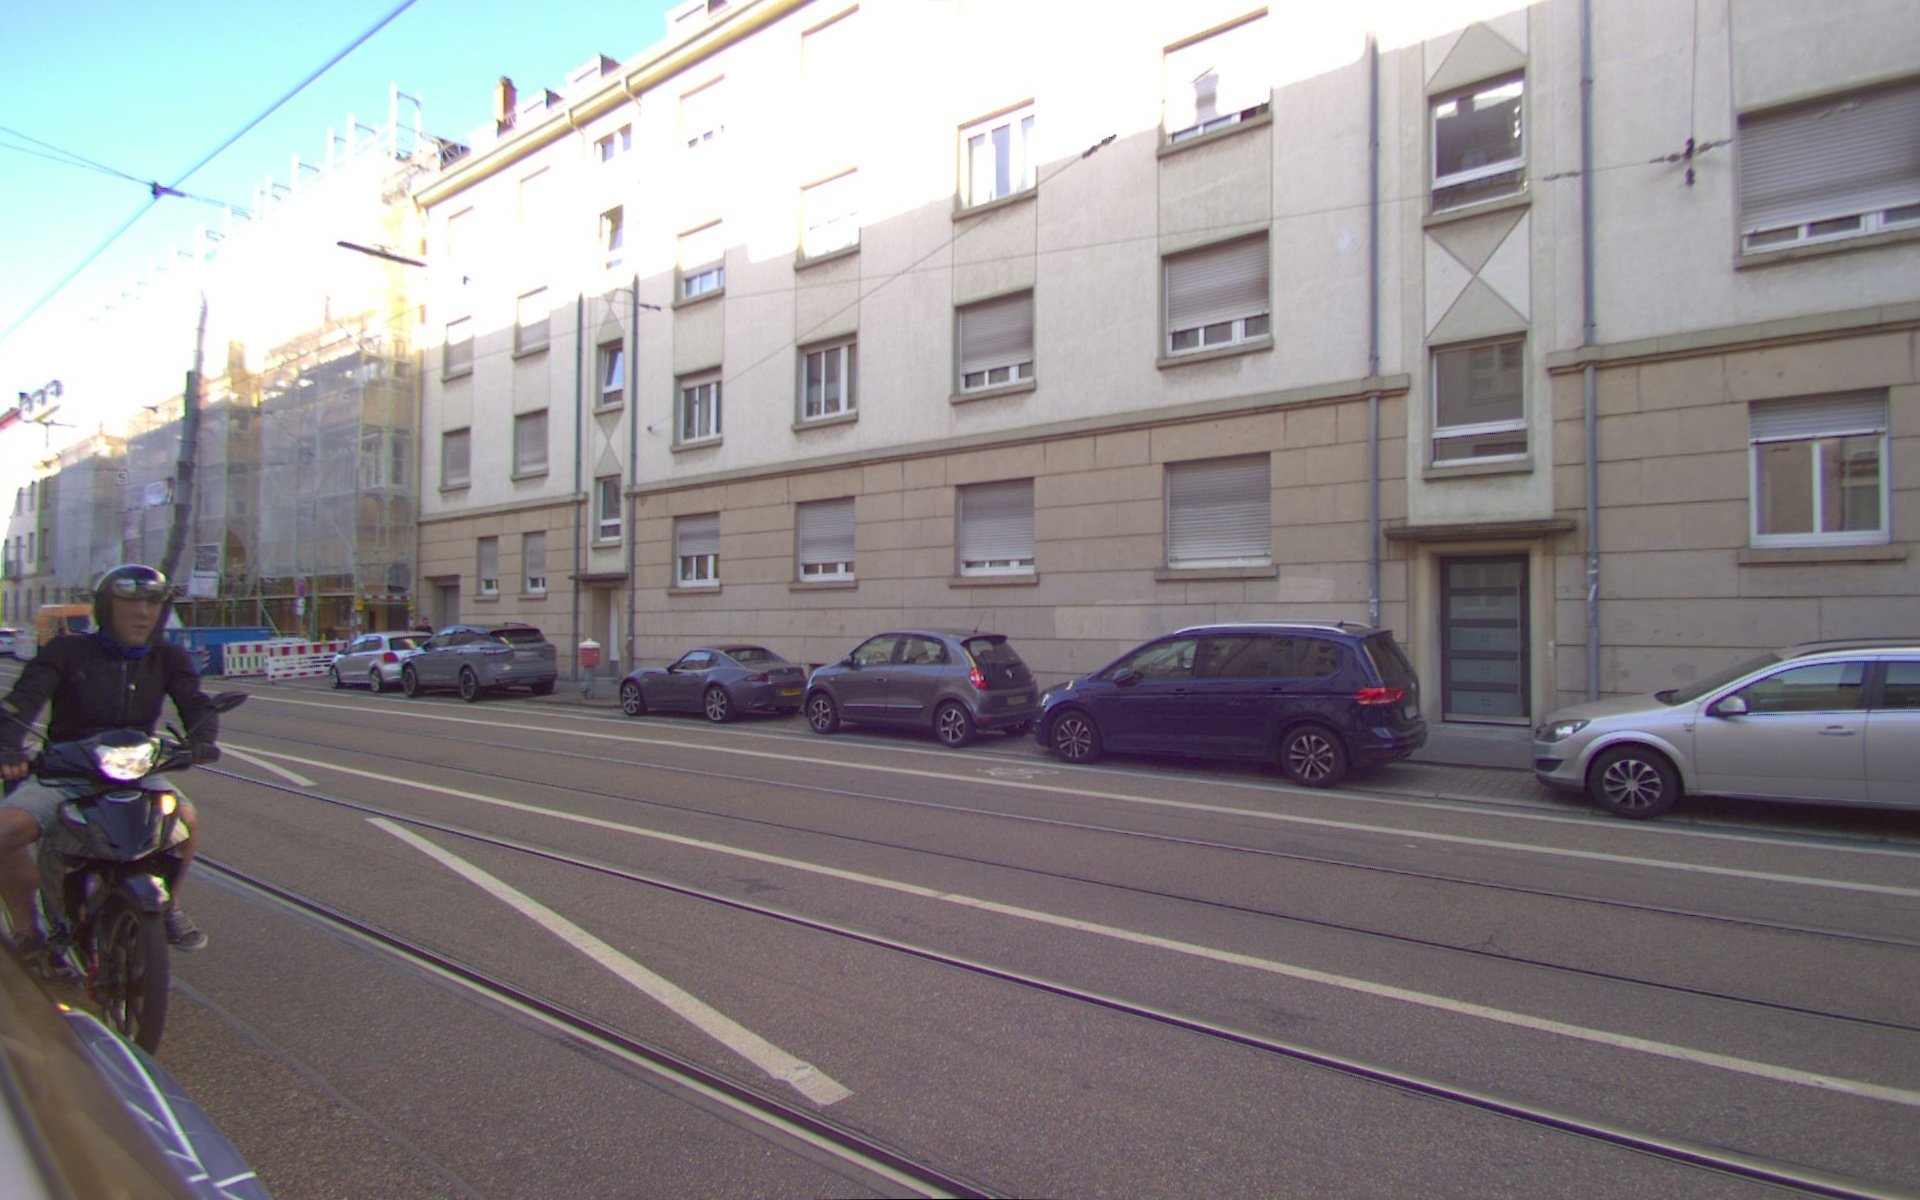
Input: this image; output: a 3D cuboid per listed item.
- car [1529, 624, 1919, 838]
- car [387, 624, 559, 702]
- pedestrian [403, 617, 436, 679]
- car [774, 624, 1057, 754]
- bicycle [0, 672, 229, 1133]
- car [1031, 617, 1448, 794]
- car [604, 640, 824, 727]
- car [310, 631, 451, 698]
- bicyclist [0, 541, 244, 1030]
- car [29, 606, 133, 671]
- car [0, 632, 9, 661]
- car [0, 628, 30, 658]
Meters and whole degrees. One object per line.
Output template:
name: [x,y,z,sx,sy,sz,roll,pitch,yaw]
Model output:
car: [7.286,0.986,8.300,4.380,1.521,1.683,-1,0,38]
car: [-10.896,1.340,22.534,4.400,1.580,1.683,-1,-3,38]
pedestrian: [-15.100,1.328,28.268,0.716,1.707,0.575,-2,-1,37]
car: [-0.724,1.170,14.701,3.995,1.581,1.683,-1,0,38]
bicycle: [-3.104,0.886,3.628,0.729,1.186,1.978,2,-3,-37]
car: [3.044,1.024,11.462,4.236,1.627,1.684,-1,0,37]
car: [-4.286,1.361,17.451,3.779,1.225,1.684,-1,0,37]
car: [-14.565,1.546,25.360,3.995,1.426,1.683,-1,1,38]
bicyclist: [-3.189,0.608,3.718,0.831,1.566,0.851,2,-3,-38]
car: [-36.342,1.601,41.785,5.992,2.488,2.099,-2,-3,38]
car: [-54.914,2.609,56.687,4.215,1.590,1.682,-1,-1,37]
car: [-50.144,2.254,52.827,3.995,1.523,1.730,-2,-3,38]
